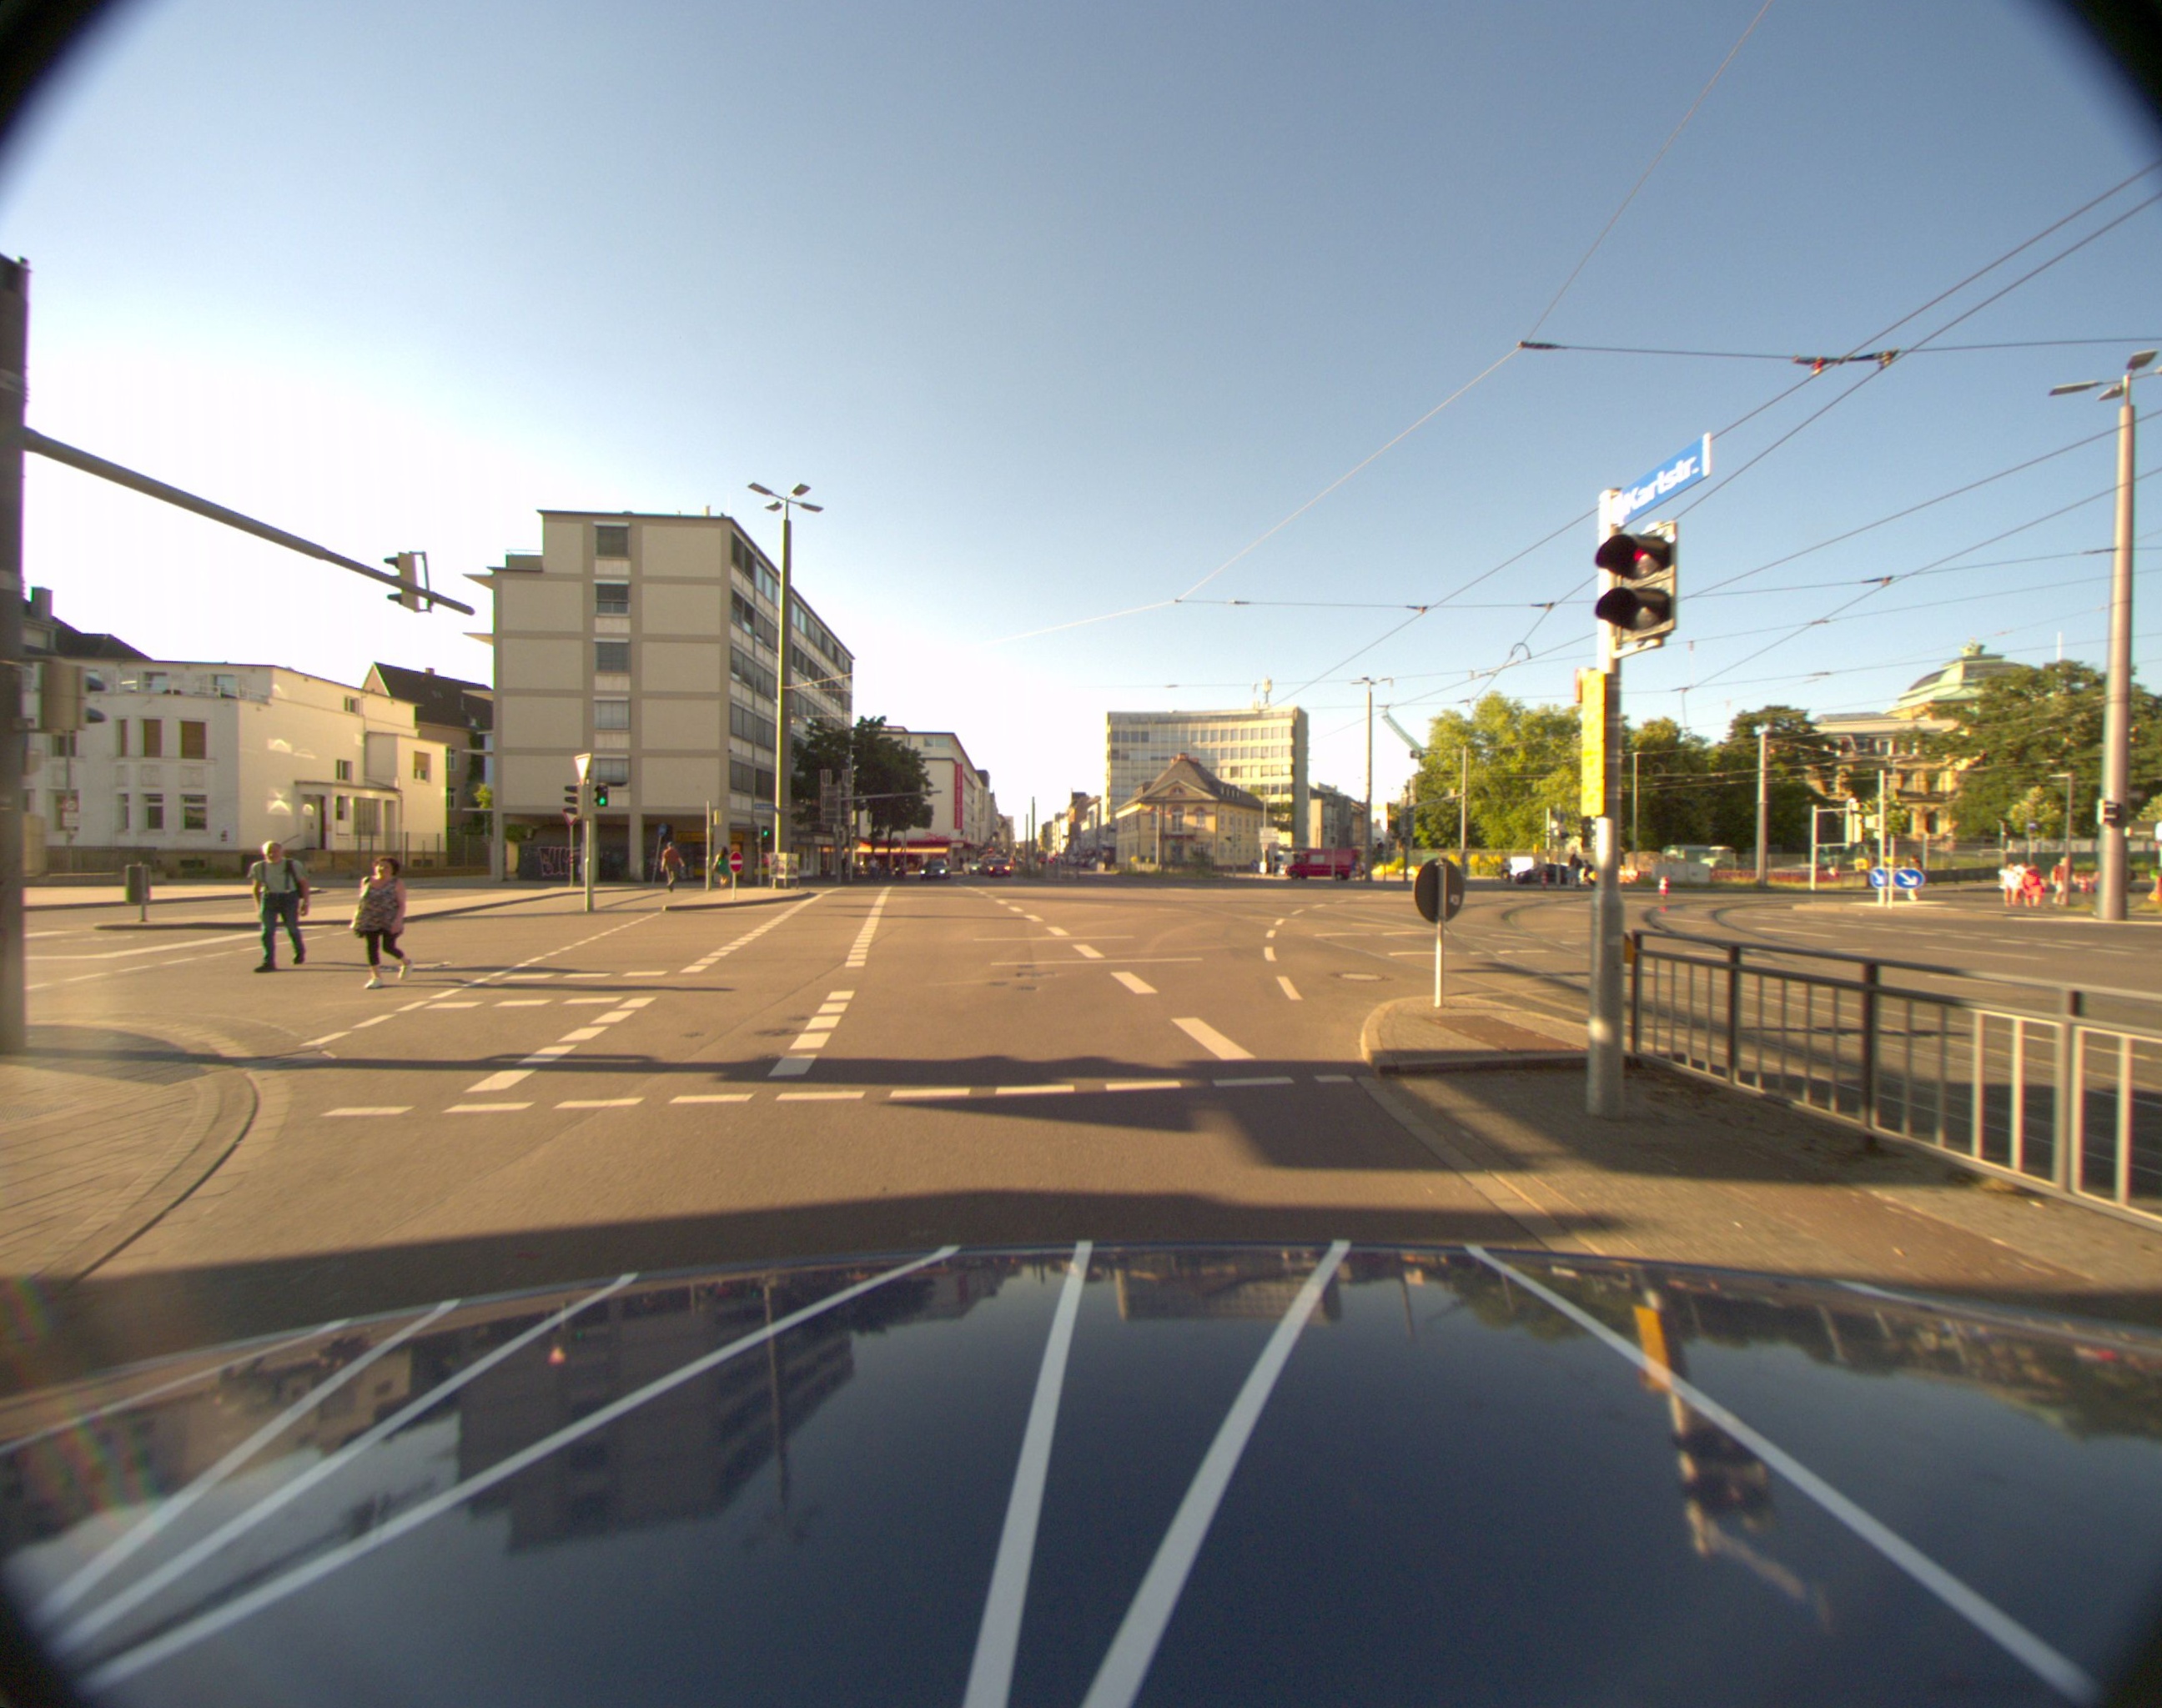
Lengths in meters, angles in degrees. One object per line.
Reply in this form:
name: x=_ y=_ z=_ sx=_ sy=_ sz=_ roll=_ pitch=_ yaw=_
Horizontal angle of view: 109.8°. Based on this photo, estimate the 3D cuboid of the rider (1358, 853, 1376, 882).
rider: x=20.435 y=0.933 z=54.268 sx=1.011 sy=2.002 sz=0.991 roll=-2 pitch=1 yaw=30

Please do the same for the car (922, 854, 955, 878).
car: x=-10.153 y=0.841 z=54.548 sx=1.973 sy=1.664 sz=4.872 roll=-1 pitch=0 yaw=-7

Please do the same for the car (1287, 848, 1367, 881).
car: x=19.316 y=0.821 z=59.830 sx=5.407 sy=2.440 sz=2.549 roll=-1 pitch=0 yaw=37

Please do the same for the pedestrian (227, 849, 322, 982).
pedestrian: x=-11.141 y=0.811 z=10.520 sx=0.655 sy=1.758 sz=0.811 roll=0 pitch=1 yaw=-26

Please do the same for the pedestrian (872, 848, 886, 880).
pedestrian: x=-13.095 y=0.621 z=49.202 sx=0.748 sy=2.002 sz=1.069 roll=-2 pitch=1 yaw=-17

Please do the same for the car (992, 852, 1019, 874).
car: x=-5.809 y=0.686 z=58.867 sx=1.972 sy=1.664 sz=4.873 roll=-1 pitch=0 yaw=-5

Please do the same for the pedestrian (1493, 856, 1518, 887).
pedestrian: x=28.497 y=1.145 z=51.011 sx=1.073 sy=2.002 sz=0.989 roll=-2 pitch=1 yaw=0

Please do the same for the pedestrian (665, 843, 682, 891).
pedestrian: x=-14.476 y=0.457 z=26.993 sx=0.406 sy=1.708 sz=0.394 roll=-2 pitch=1 yaw=-16

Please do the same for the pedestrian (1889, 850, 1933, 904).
pedestrian: x=31.945 y=0.884 z=29.239 sx=0.812 sy=2.002 sz=0.859 roll=-3 pitch=1 yaw=-18

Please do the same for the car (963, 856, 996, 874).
car: x=-9.712 y=1.042 z=72.252 sx=1.975 sy=1.664 sz=4.867 roll=-1 pitch=0 yaw=-21

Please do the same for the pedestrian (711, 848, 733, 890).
pedestrian: x=-12.346 y=0.522 z=26.159 sx=0.597 sy=1.434 sz=0.613 roll=0 pitch=1 yaw=-16

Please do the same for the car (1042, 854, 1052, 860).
car: x=-9.027 y=0.852 z=201.299 sx=1.973 sy=1.664 sz=4.872 roll=-1 pitch=0 yaw=-8

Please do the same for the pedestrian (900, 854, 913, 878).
pedestrian: x=-12.550 y=0.872 z=54.673 sx=0.861 sy=1.700 sz=1.051 roll=-1 pitch=1 yaw=-9

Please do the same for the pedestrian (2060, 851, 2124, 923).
pedestrian: x=29.261 y=0.938 z=22.005 sx=0.858 sy=2.002 sz=0.813 roll=-2 pitch=1 yaw=33

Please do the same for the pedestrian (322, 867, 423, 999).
pedestrian: x=-8.555 y=0.926 z=9.204 sx=0.692 sy=1.526 sz=0.613 roll=0 pitch=1 yaw=-16

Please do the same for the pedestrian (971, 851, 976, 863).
pedestrian: x=-13.607 y=0.378 z=95.846 sx=0.597 sy=1.434 sz=0.613 roll=0 pitch=1 yaw=-7

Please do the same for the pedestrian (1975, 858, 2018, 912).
pedestrian: x=31.175 y=1.037 z=25.877 sx=0.710 sy=1.761 sz=0.858 roll=-3 pitch=1 yaw=-45

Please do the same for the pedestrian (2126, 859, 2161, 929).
pedestrian: x=28.004 y=1.029 z=19.684 sx=0.858 sy=1.757 sz=0.813 roll=-2 pitch=1 yaw=33

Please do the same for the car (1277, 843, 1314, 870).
car: x=26.289 y=0.283 z=93.091 sx=2.536 sy=3.031 sz=6.387 roll=3 pitch=2 yaw=32

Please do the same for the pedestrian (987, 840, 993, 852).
pedestrian: x=-10.944 y=-0.910 z=91.405 sx=0.597 sy=1.434 sz=0.613 roll=0 pitch=1 yaw=-16

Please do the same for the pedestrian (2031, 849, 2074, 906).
pedestrian: x=35.325 y=0.843 z=27.627 sx=0.813 sy=2.002 sz=0.858 roll=-3 pitch=1 yaw=-45

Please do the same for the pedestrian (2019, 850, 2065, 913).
pedestrian: x=31.859 y=0.899 z=25.201 sx=0.813 sy=2.002 sz=0.858 roll=-3 pitch=1 yaw=-45

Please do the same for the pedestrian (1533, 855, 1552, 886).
pedestrian: x=30.905 y=1.120 z=50.943 sx=1.011 sy=2.002 sz=0.991 roll=-2 pitch=1 yaw=30

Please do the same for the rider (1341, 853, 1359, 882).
rider: x=19.413 y=0.966 z=54.869 sx=1.011 sy=2.002 sz=1.022 roll=-2 pitch=1 yaw=30
